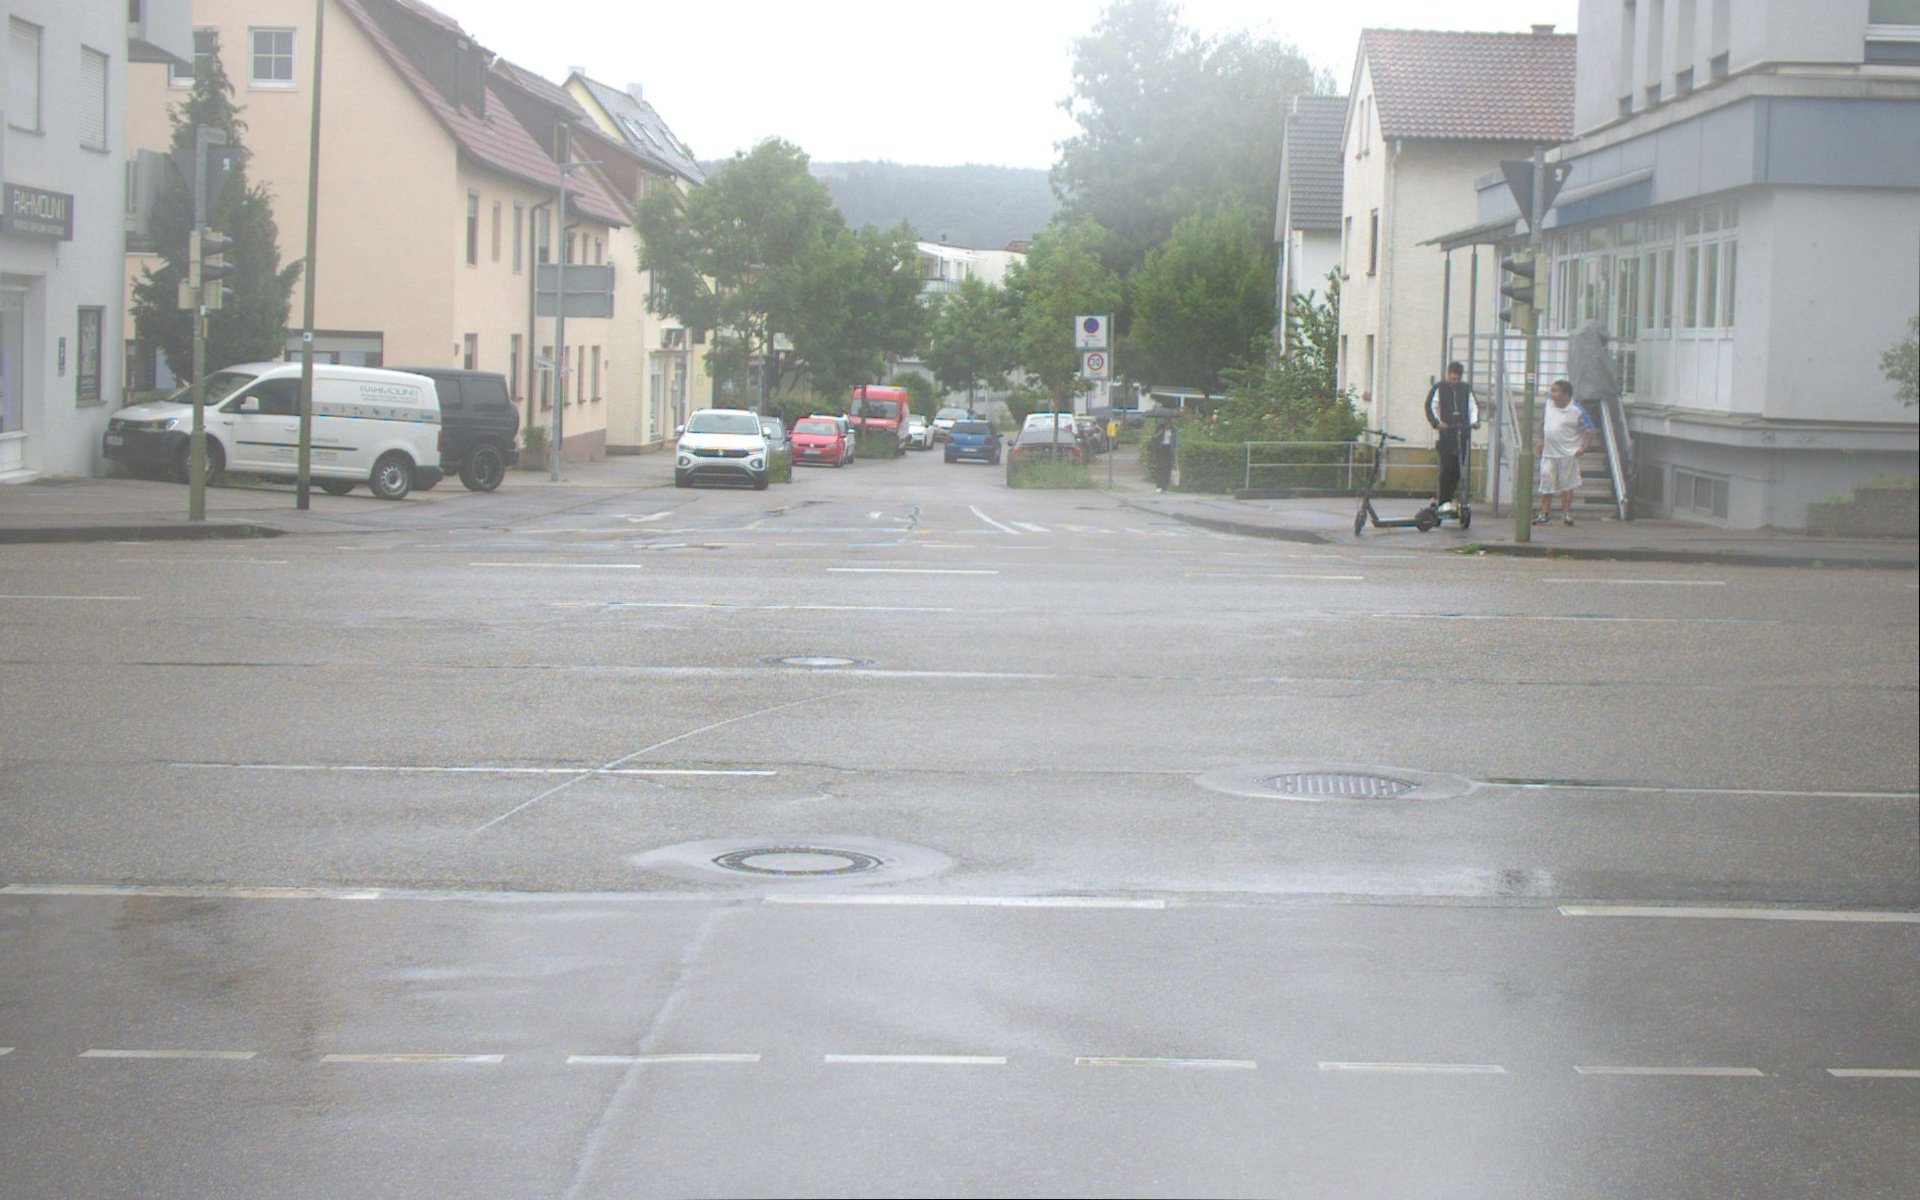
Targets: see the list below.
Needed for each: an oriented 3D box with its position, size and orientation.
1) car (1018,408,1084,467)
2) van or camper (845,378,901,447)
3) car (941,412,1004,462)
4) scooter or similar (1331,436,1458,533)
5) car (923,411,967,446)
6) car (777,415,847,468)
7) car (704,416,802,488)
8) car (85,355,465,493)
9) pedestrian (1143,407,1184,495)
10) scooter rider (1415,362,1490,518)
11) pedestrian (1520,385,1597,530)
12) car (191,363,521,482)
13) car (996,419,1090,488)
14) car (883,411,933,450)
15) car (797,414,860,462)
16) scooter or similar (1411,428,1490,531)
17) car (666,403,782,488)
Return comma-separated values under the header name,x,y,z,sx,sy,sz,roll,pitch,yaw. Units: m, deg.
name,x,y,z,sx,sy,sz,roll,pitch,yaw
car,2.732,-4.902,104.114,1.901,1.739,4.192,0,3,0
van or camper,-3.201,-6.900,126.922,1.901,2.504,4.239,0,3,0
car,0.420,-5.599,118.107,1.993,1.678,4.001,0,3,-2
scooter or similar,4.936,-1.319,39.094,1.268,1.077,0.877,0,2,-4
car,-0.673,-7.722,155.033,1.901,1.553,4.192,0,3,0
car,-4.499,-4.834,104.861,1.901,1.553,4.192,0,3,0
car,-4.785,-3.439,79.832,1.993,1.620,4.192,0,3,0
car,-9.556,-2.444,48.168,4.830,1.829,2.000,-2,3,-38
pedestrian,4.384,-3.210,74.131,0.746,1.842,0.526,4,2,2
scooter rider,5.726,-1.859,40.002,0.752,1.789,0.673,0,2,0
pedestrian,6.981,-1.665,40.116,0.647,1.641,0.526,4,2,-6
car,-9.642,-2.824,55.063,4.830,1.829,2.000,-2,3,-38
car,1.955,-3.508,82.091,2.146,1.583,4.128,0,3,0
car,-2.094,-6.839,139.054,1.901,1.553,4.192,0,3,0
car,-4.313,-5.339,113.260,1.901,1.553,4.192,0,3,0
scooter or similar,5.714,-1.411,40.081,0.757,1.167,1.314,0,2,2
car,-4.669,-3.081,68.431,1.993,1.620,4.192,0,3,0
